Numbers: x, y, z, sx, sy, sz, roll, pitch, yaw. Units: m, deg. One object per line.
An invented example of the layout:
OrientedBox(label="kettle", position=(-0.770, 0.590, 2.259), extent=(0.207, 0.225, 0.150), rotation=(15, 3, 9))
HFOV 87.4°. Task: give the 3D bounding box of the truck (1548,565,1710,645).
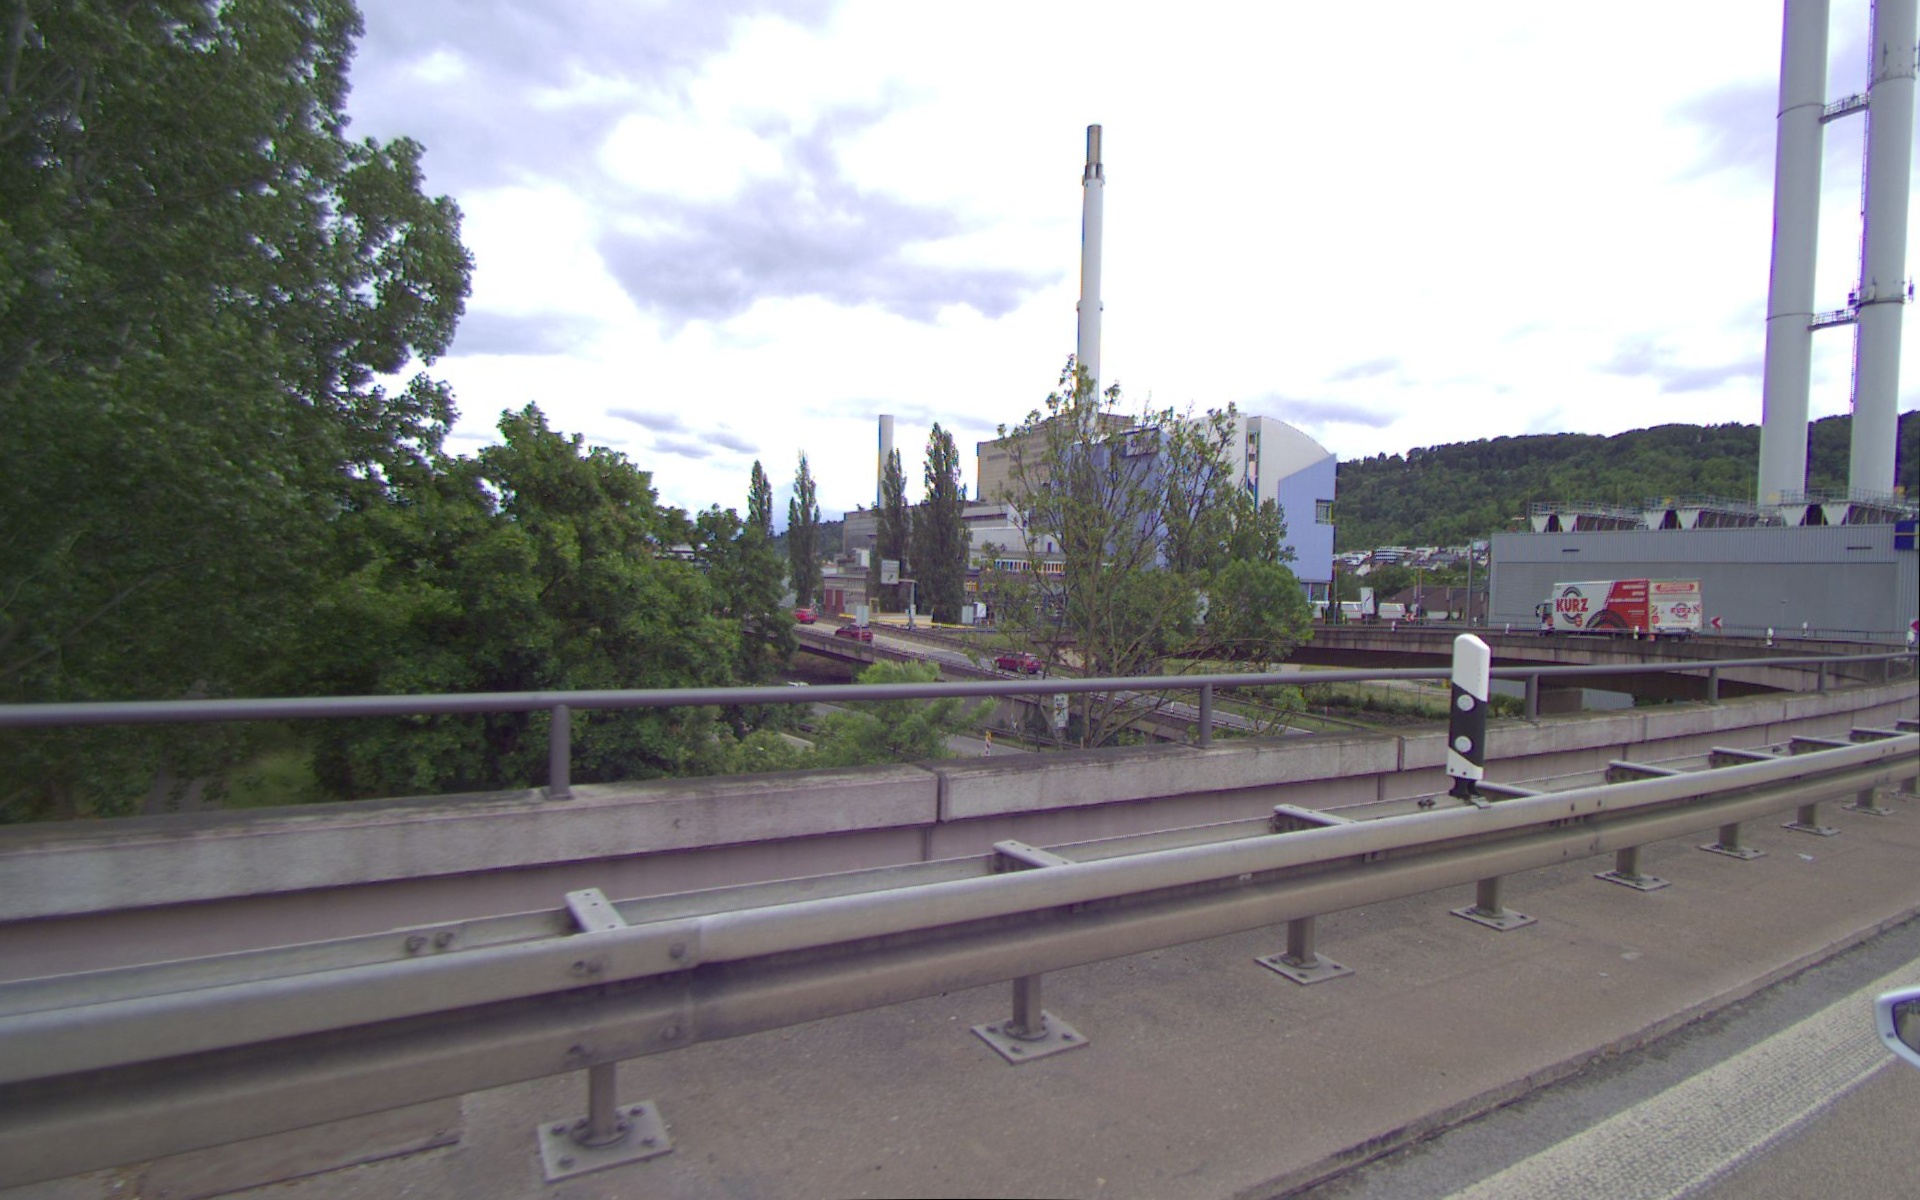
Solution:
OrientedBox(label="truck", position=(33.868, 0.240, 51.342), extent=(3.000, 3.722, 7.927), rotation=(2, 0, 1))
